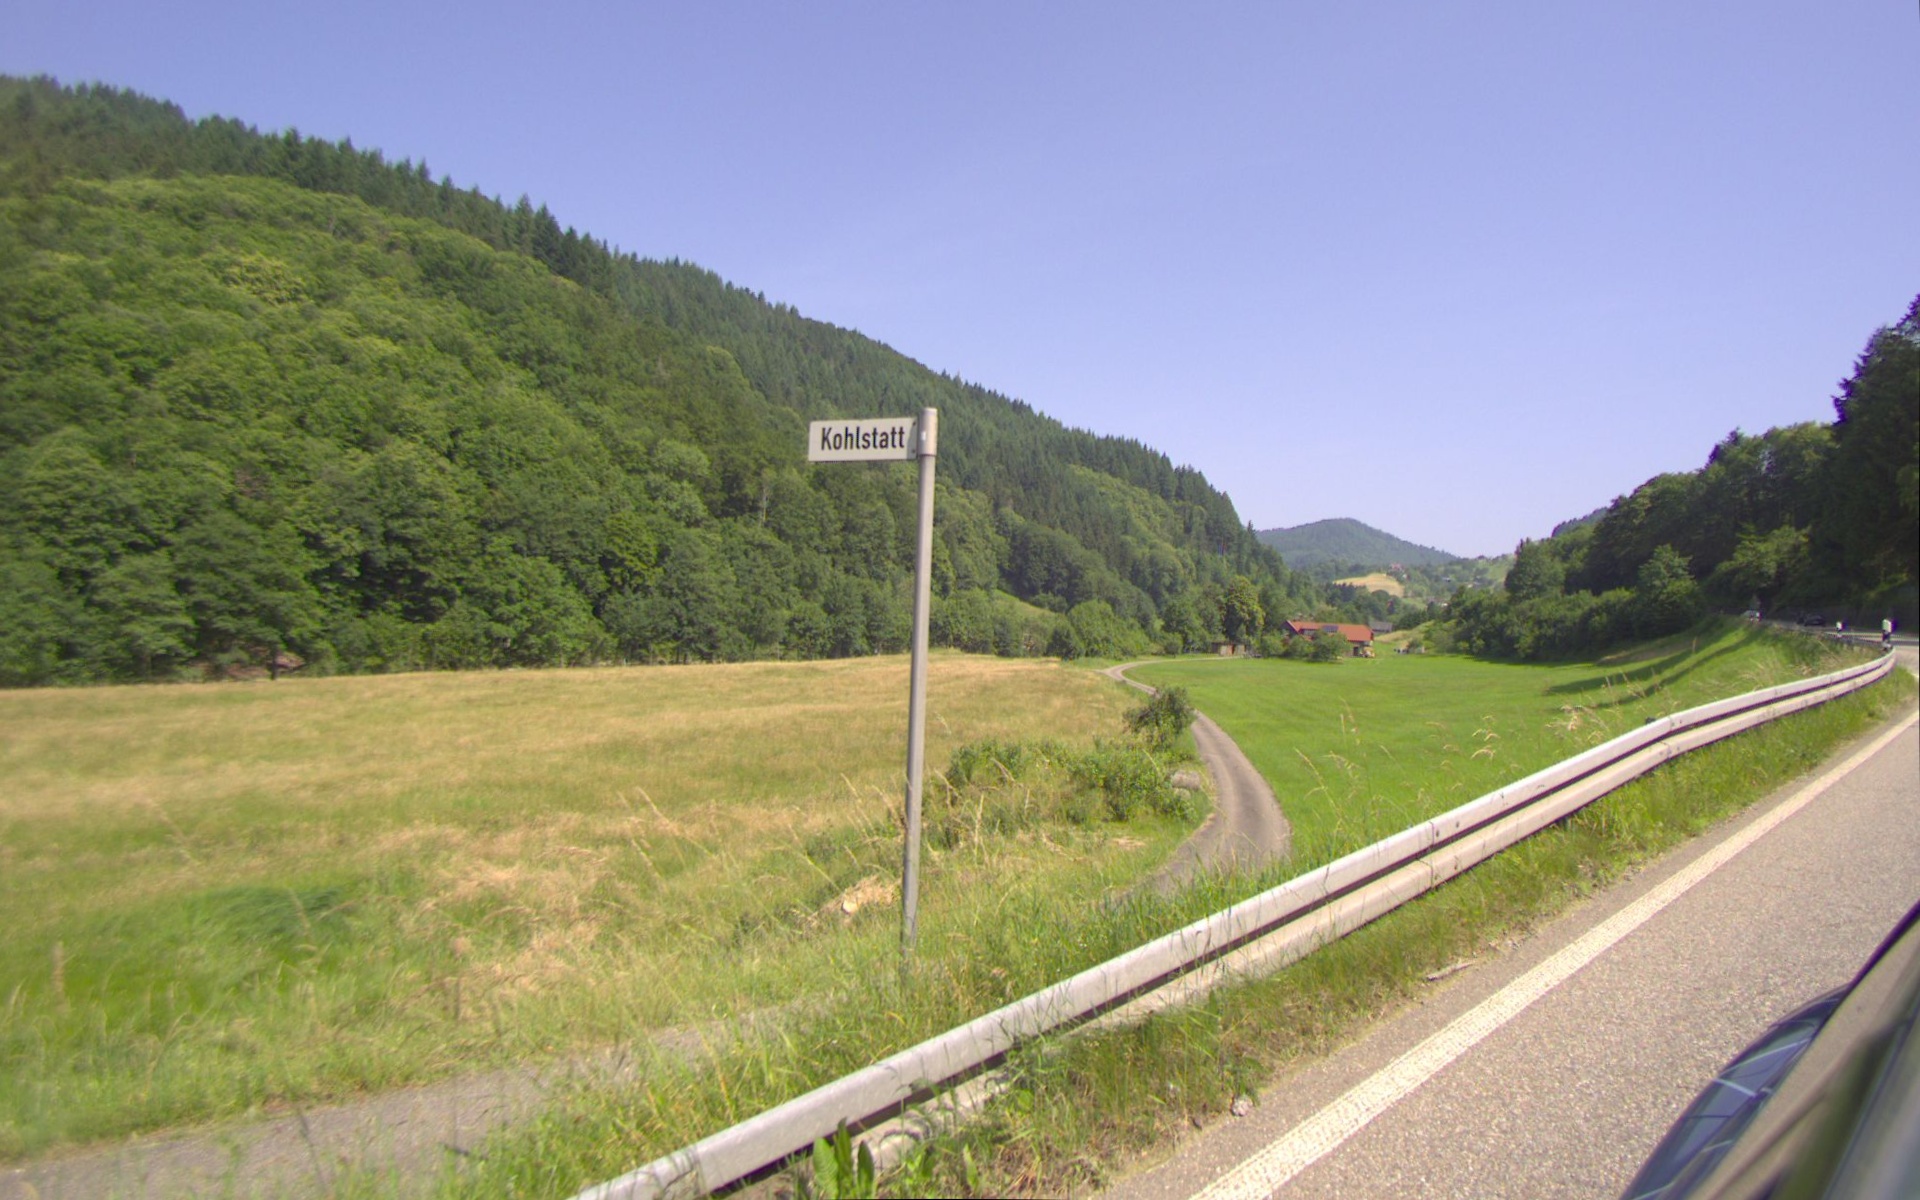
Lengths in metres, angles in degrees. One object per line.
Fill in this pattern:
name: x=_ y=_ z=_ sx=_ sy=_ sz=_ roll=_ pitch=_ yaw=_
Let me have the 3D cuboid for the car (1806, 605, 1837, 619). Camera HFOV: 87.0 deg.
car: x=91.784 y=1.243 z=107.847 sx=1.756 sy=1.414 sz=4.100 roll=-1 pitch=0 yaw=31
